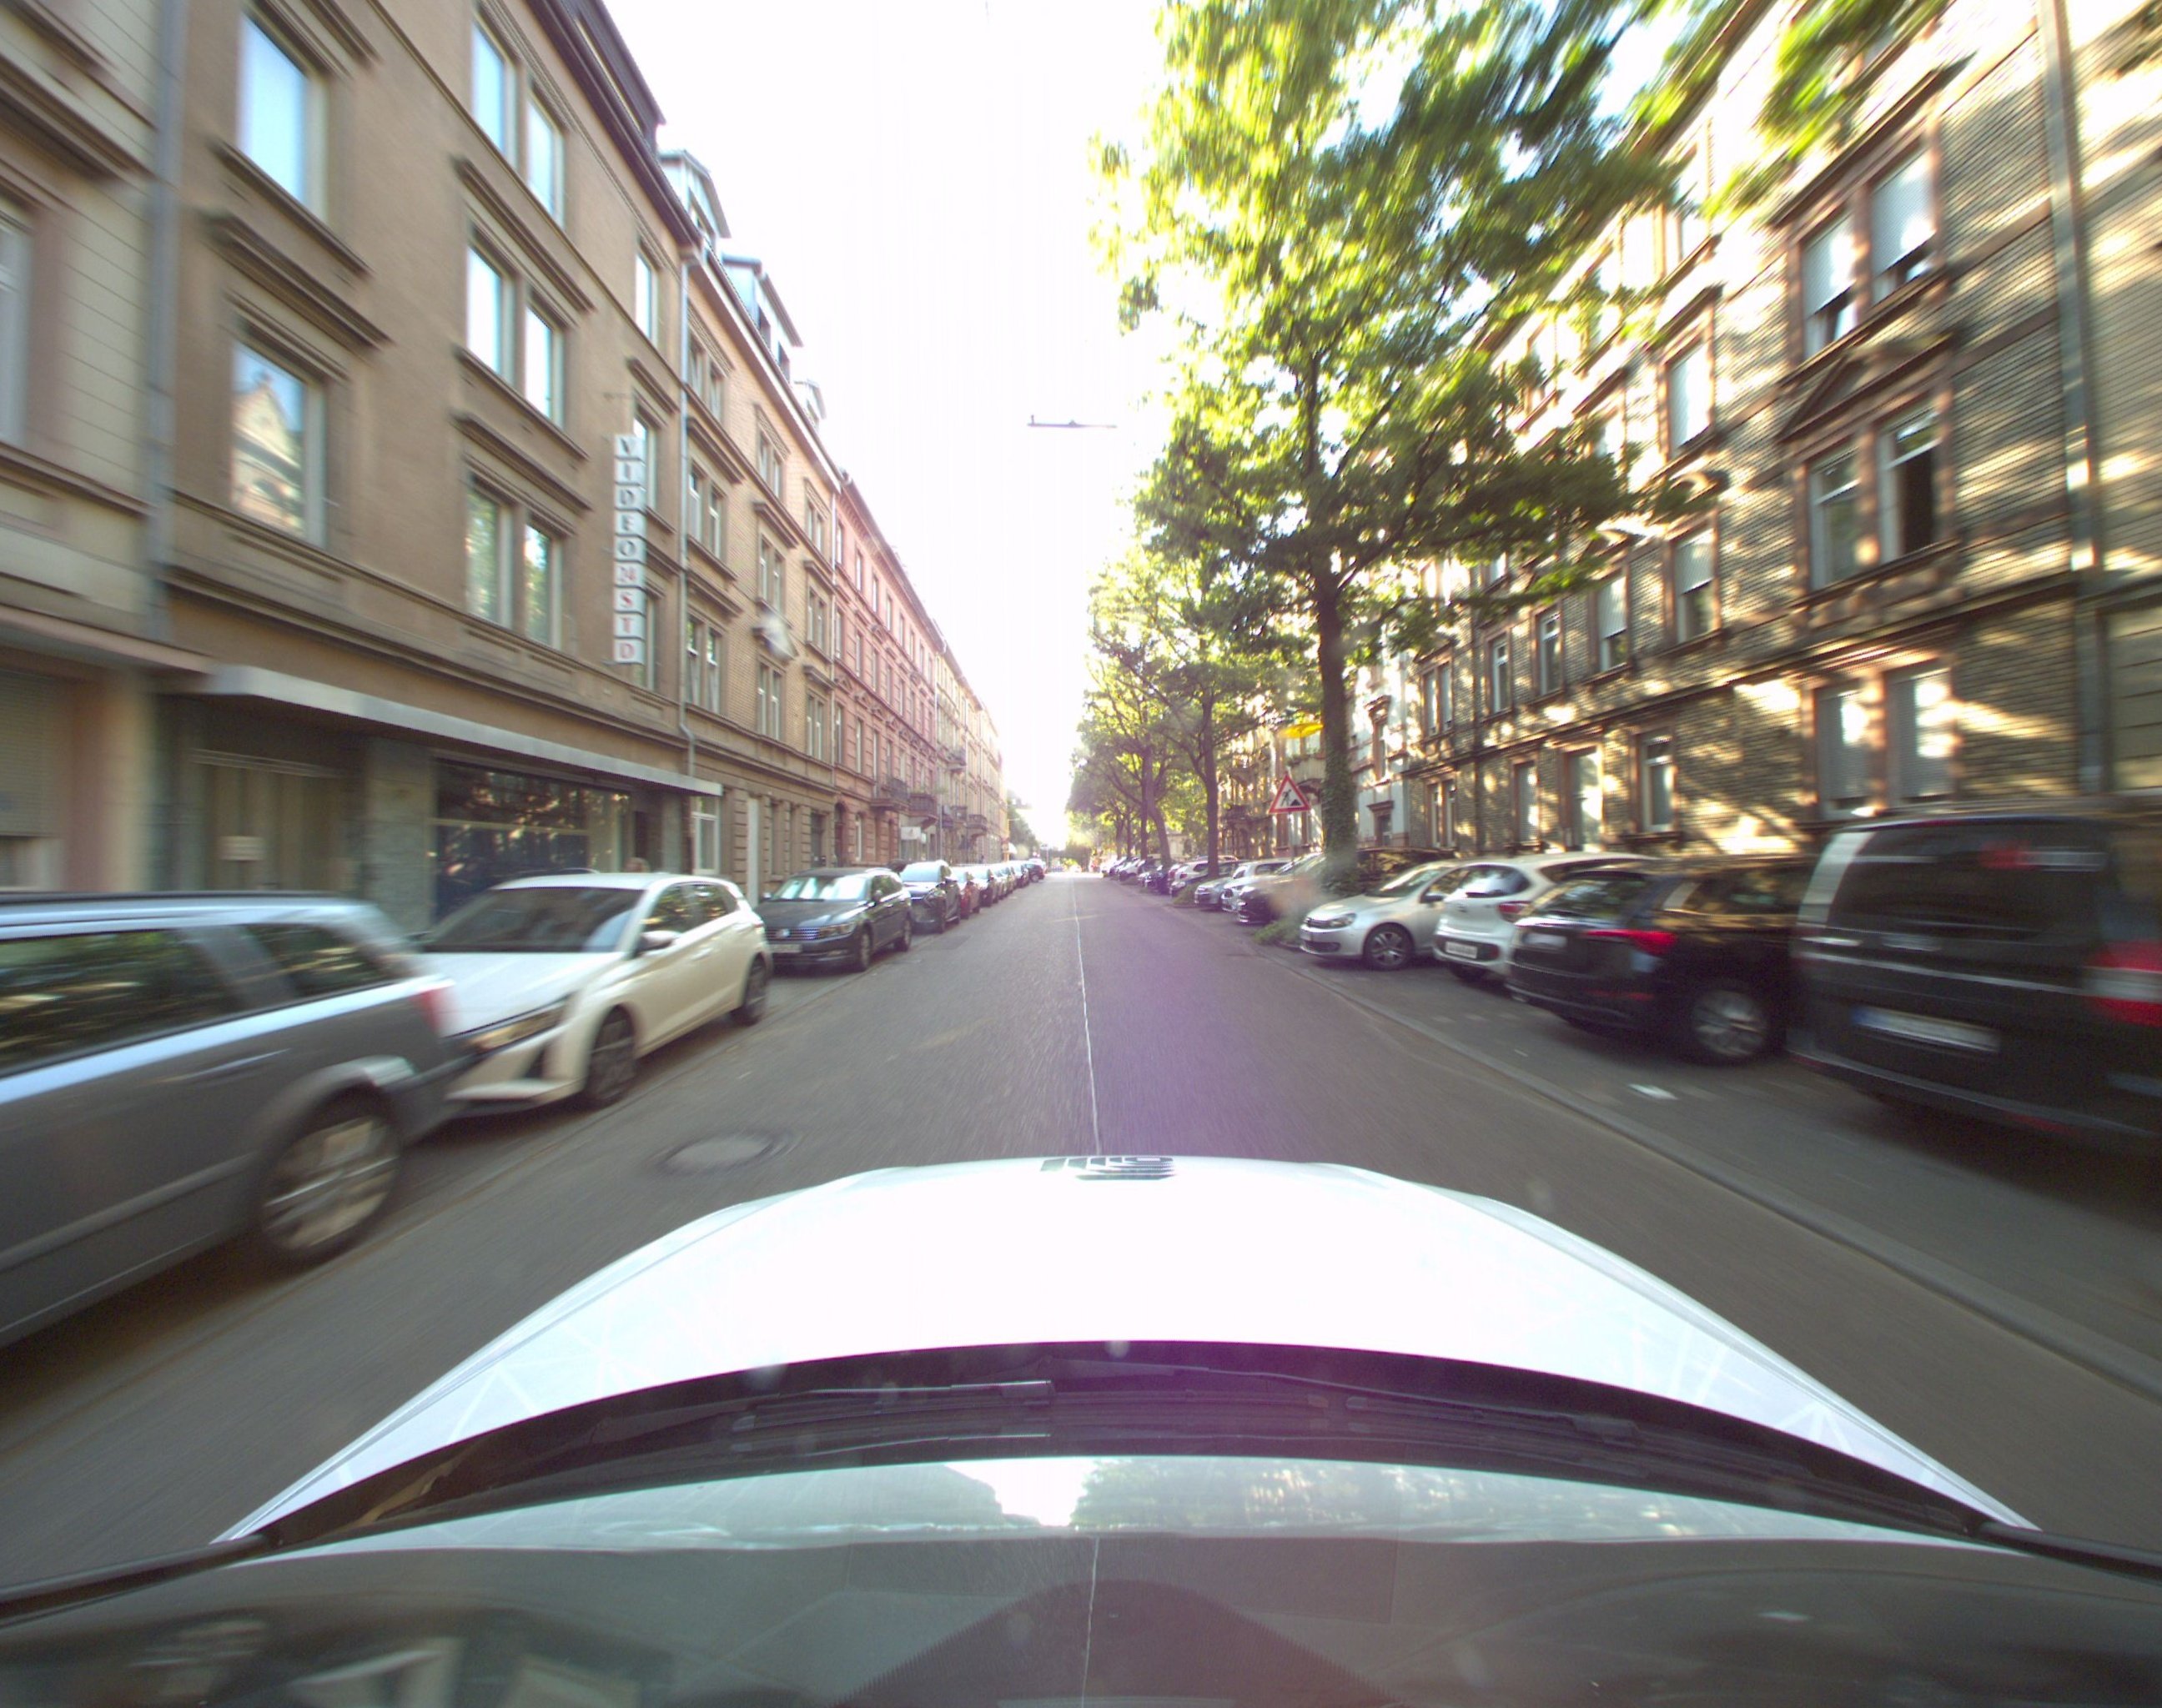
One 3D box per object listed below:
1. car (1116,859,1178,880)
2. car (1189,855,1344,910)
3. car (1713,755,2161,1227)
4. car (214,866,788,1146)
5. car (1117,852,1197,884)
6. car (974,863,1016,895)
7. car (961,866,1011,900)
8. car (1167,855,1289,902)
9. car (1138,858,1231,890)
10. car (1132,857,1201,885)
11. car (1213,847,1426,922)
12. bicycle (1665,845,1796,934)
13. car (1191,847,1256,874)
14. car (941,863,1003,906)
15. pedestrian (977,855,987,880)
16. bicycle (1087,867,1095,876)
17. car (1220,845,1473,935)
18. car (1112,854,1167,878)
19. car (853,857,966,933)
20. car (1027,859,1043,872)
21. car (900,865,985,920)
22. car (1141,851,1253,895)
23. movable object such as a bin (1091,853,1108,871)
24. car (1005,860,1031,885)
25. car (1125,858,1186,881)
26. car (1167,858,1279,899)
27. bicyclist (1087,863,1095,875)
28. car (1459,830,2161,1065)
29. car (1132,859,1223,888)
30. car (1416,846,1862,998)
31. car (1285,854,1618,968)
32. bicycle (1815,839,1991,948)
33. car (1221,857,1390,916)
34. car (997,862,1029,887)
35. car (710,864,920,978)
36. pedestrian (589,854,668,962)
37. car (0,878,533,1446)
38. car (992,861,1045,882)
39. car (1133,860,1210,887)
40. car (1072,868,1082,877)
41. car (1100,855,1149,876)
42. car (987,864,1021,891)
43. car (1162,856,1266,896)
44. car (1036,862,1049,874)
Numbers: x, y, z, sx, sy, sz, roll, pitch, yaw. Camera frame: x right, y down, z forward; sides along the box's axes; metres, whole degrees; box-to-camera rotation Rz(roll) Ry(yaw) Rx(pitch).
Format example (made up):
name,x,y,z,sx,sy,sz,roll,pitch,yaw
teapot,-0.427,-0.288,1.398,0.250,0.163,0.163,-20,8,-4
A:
name,x,y,z,sx,sy,sz,roll,pitch,yaw
car,4.828,1.162,60.146,4.356,1.456,1.933,-1,-1,-1
car,5.487,0.827,24.410,4.214,1.536,1.798,-1,0,-4
car,5.971,0.499,4.062,4.111,1.788,1.945,-1,-1,1
car,-3.919,0.862,6.532,1.752,1.472,4.085,-1,0,-2
car,4.980,0.921,54.031,5.077,1.940,2.157,-1,-4,-1
car,-4.195,1.199,40.264,1.700,1.439,3.957,-1,-1,-1
car,-4.095,1.220,35.588,1.700,1.323,4.099,-1,-1,-1
car,5.186,0.865,29.013,3.976,1.388,1.676,-4,-1,-2
car,5.236,1.009,41.645,4.537,1.529,2.000,-1,-1,0
car,5.153,1.023,49.391,3.879,1.649,1.721,-1,-1,-6
car,5.536,0.718,19.292,4.465,1.656,1.889,0,-2,-3
bicycle,10.306,0.533,13.024,0.532,1.319,1.882,-1,-1,-2
car,13.924,0.612,79.757,5.889,2.537,2.374,0,-1,-7
car,-4.025,1.092,30.716,1.816,1.477,4.421,1,-1,-1
pedestrian,-7.471,1.037,61.553,0.639,1.888,0.589,-1,-1,-14
bicycle,1.194,2.074,95.775,0.801,0.968,2.107,1,-1,-1
car,5.180,0.705,16.345,4.460,1.656,1.891,-1,-2,0
car,5.128,1.016,71.411,4.605,2.014,1.997,-1,-1,-4
car,-3.939,0.883,19.410,1.816,1.600,4.311,1,-1,-1
car,-5.119,1.261,91.020,1.760,1.437,4.296,0,-1,-2
car,-4.000,1.067,24.171,1.816,1.426,4.311,1,-1,-1
car,5.178,0.825,36.624,4.637,1.702,1.878,-3,-1,-5
movable object such as a bin,2.861,1.294,124.404,1.980,2.700,3.120,-1,-1,12
car,-4.309,1.226,55.635,1.645,1.574,4.042,2,-1,-5
car,5.240,1.085,57.768,3.985,1.475,1.776,-2,-1,-9
car,5.497,0.922,31.731,3.980,1.462,1.780,-1,-1,-5
bicyclist,1.178,1.753,95.733,0.801,1.383,0.984,1,-1,-2
car,5.643,0.655,6.704,4.134,1.455,1.935,-2,0,-2
car,5.248,1.039,44.542,4.651,1.503,1.929,-1,-1,-5
car,6.120,0.692,9.211,3.979,1.495,1.685,-1,-1,-4
car,5.108,0.758,11.597,3.974,1.456,1.687,-1,-1,-1
bicycle,10.834,0.489,10.832,0.367,1.319,1.882,-1,-1,-2
car,5.970,0.844,21.985,4.087,1.470,1.801,-1,0,0
car,-4.212,1.251,50.758,1.643,1.473,3.998,2,-1,-1
car,-3.961,0.913,13.029,1.856,1.472,4.488,-1,0,0
pedestrian,-7.145,0.829,12.891,0.694,1.631,1.017,-1,-1,-2
car,-3.782,0.840,2.033,1.881,1.444,4.538,0,0,-2
car,-4.849,1.324,62.877,3.983,1.530,1.821,-1,-1,-7
car,5.159,1.103,46.862,4.099,1.503,1.807,-1,-1,-6
car,-0.673,3.169,143.032,1.744,1.509,3.998,-1,-1,-1
car,4.438,1.153,84.263,4.959,2.096,2.104,-1,-1,-1
car,-4.361,1.305,46.605,1.577,1.473,3.998,-1,-1,-1
car,5.562,0.910,34.328,3.980,1.590,1.780,-1,-1,-5
car,-5.093,1.806,106.563,1.666,1.530,3.995,0,-1,-3
